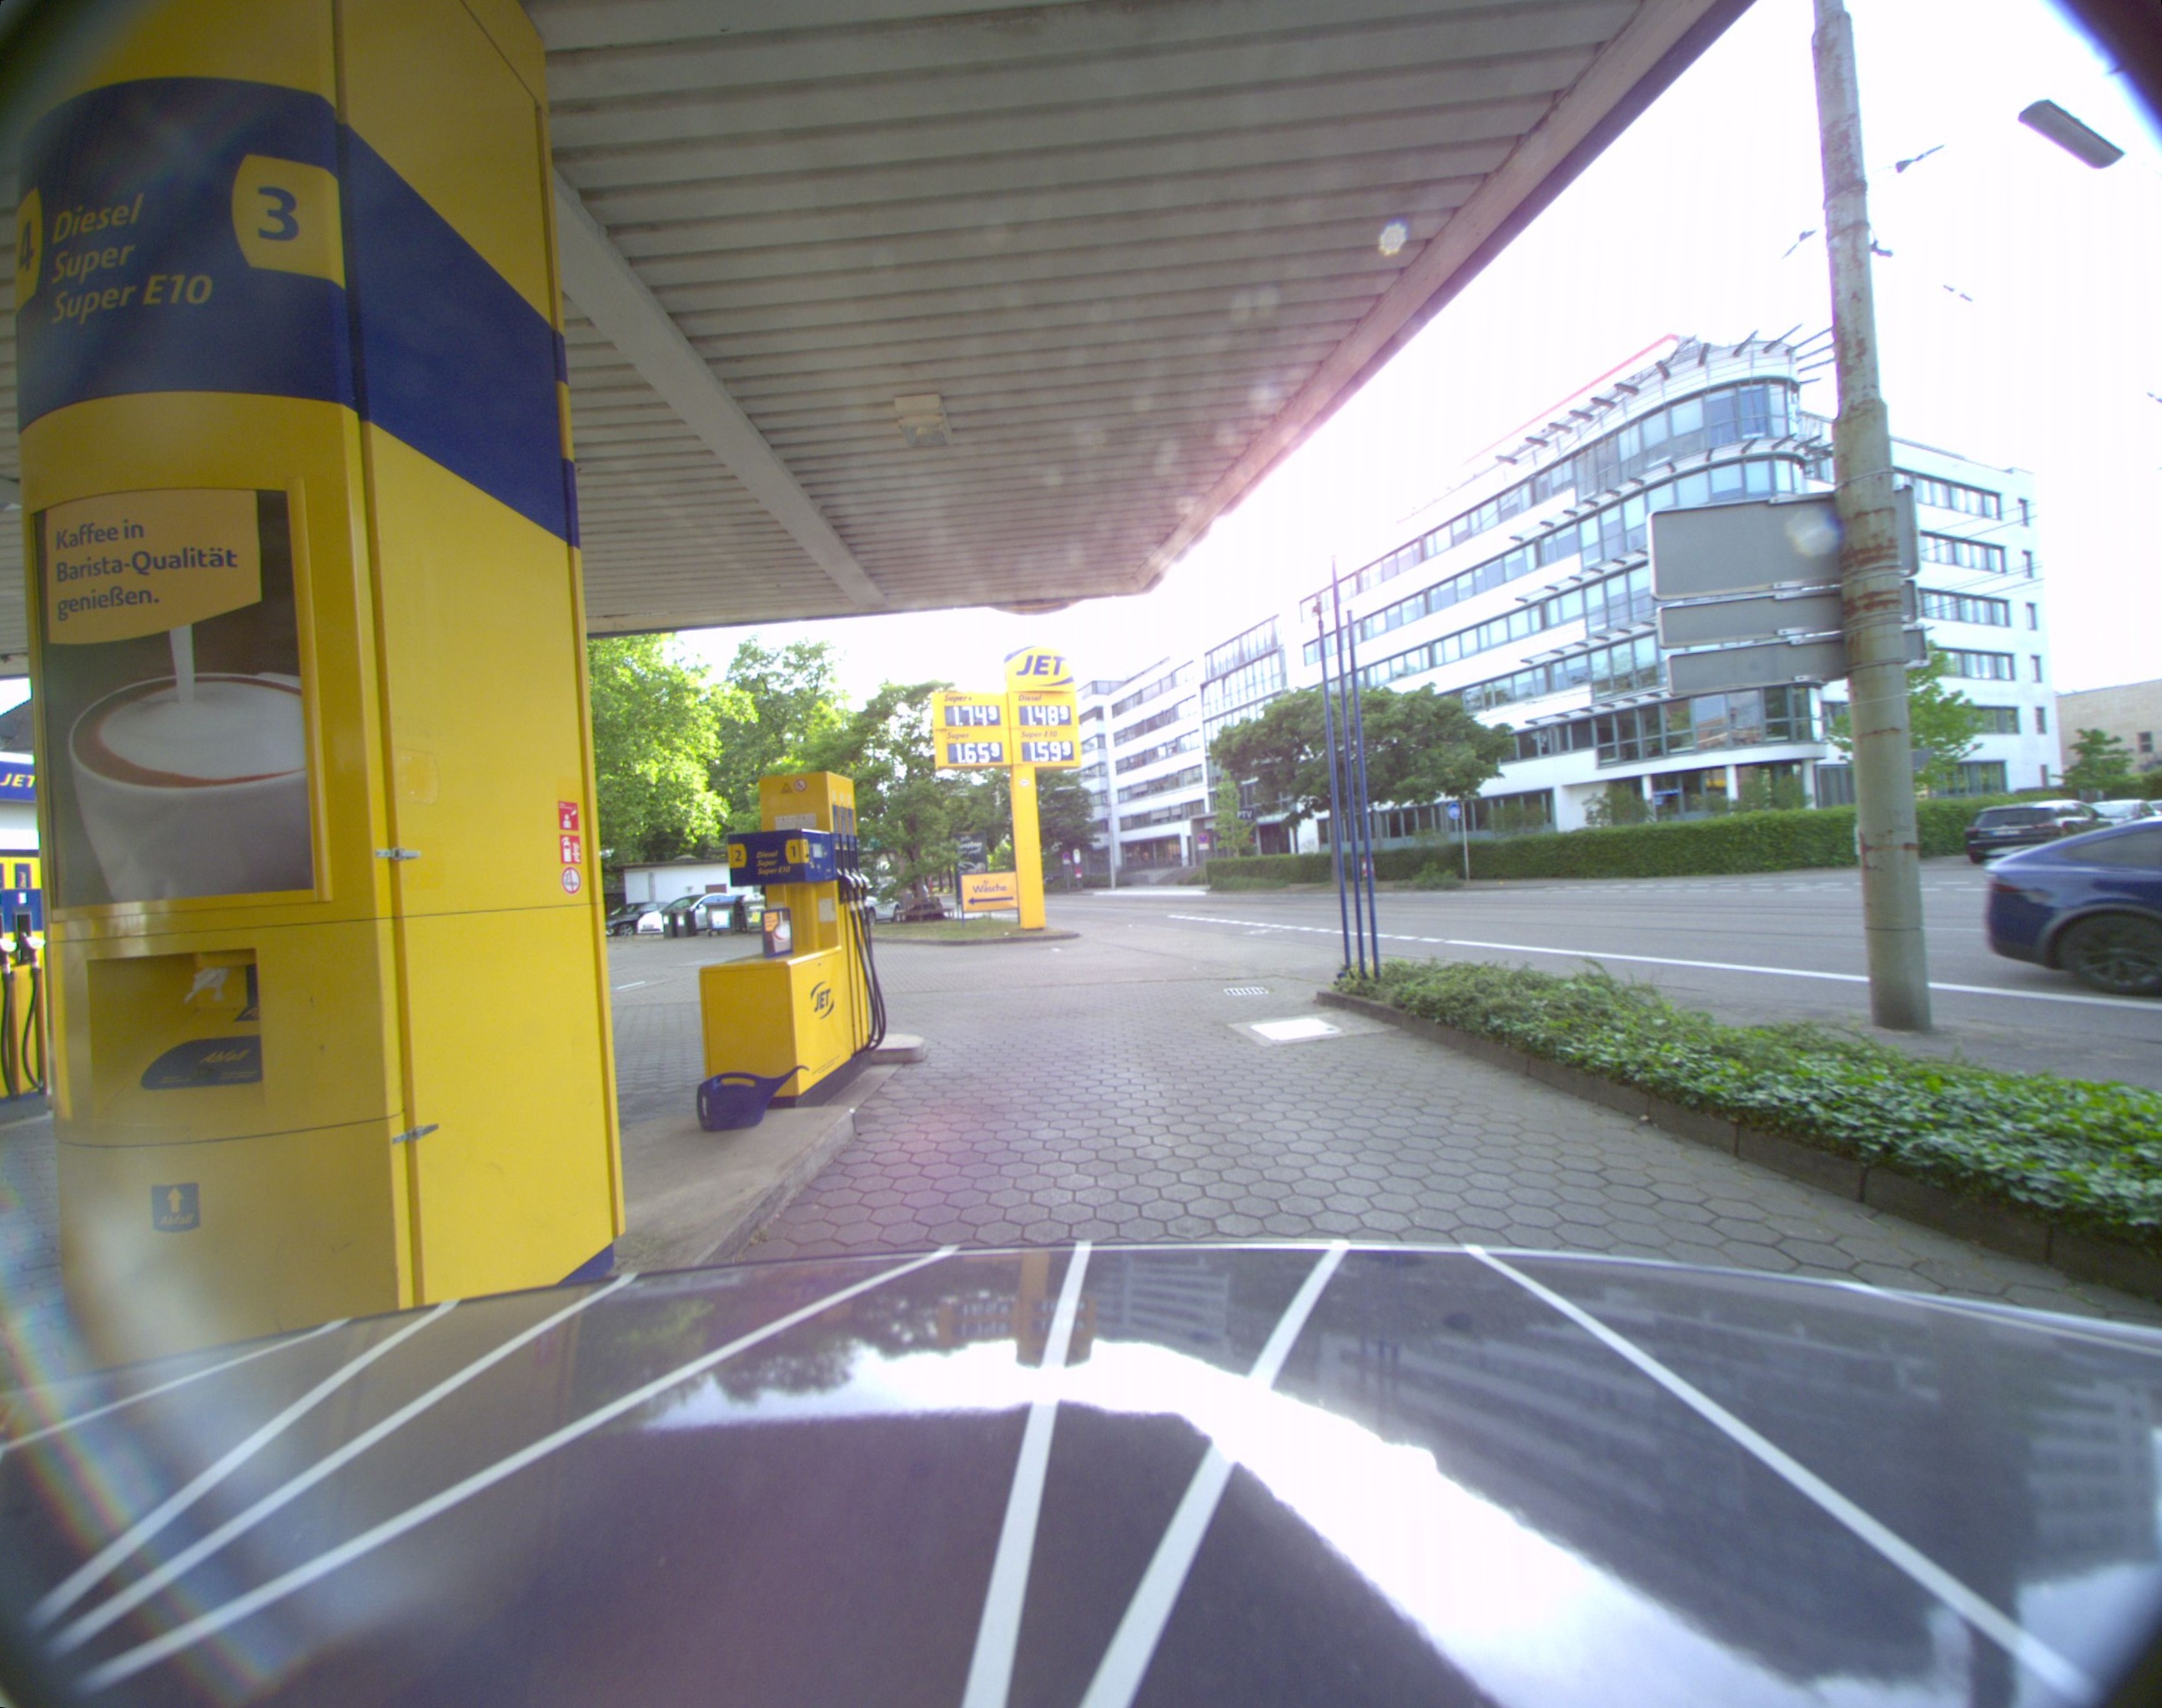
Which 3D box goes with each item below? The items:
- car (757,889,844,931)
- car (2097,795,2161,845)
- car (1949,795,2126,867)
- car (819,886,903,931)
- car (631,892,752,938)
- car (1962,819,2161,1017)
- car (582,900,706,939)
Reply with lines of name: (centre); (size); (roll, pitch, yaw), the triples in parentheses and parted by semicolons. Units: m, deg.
car: (-11.797, 2.324, 32.231); (1.739, 1.500, 4.004); (-4, -2, 6)
car: (37.156, -1.236, 26.068); (4.109, 1.544, 1.786); (-4, -1, -23)
car: (27.381, -0.649, 21.759); (4.438, 1.603, 1.976); (-5, -1, -23)
car: (-8.681, 2.118, 30.370); (1.739, 1.500, 4.003); (-4, -2, 6)
car: (-15.355, 2.385, 30.243); (1.785, 1.514, 4.229); (-4, -3, 17)
car: (10.564, 0.490, 5.663); (1.771, 1.647, 4.845); (-5, 0, -17)
car: (-17.740, 2.634, 31.059); (1.745, 1.269, 4.230); (-5, -3, 19)
